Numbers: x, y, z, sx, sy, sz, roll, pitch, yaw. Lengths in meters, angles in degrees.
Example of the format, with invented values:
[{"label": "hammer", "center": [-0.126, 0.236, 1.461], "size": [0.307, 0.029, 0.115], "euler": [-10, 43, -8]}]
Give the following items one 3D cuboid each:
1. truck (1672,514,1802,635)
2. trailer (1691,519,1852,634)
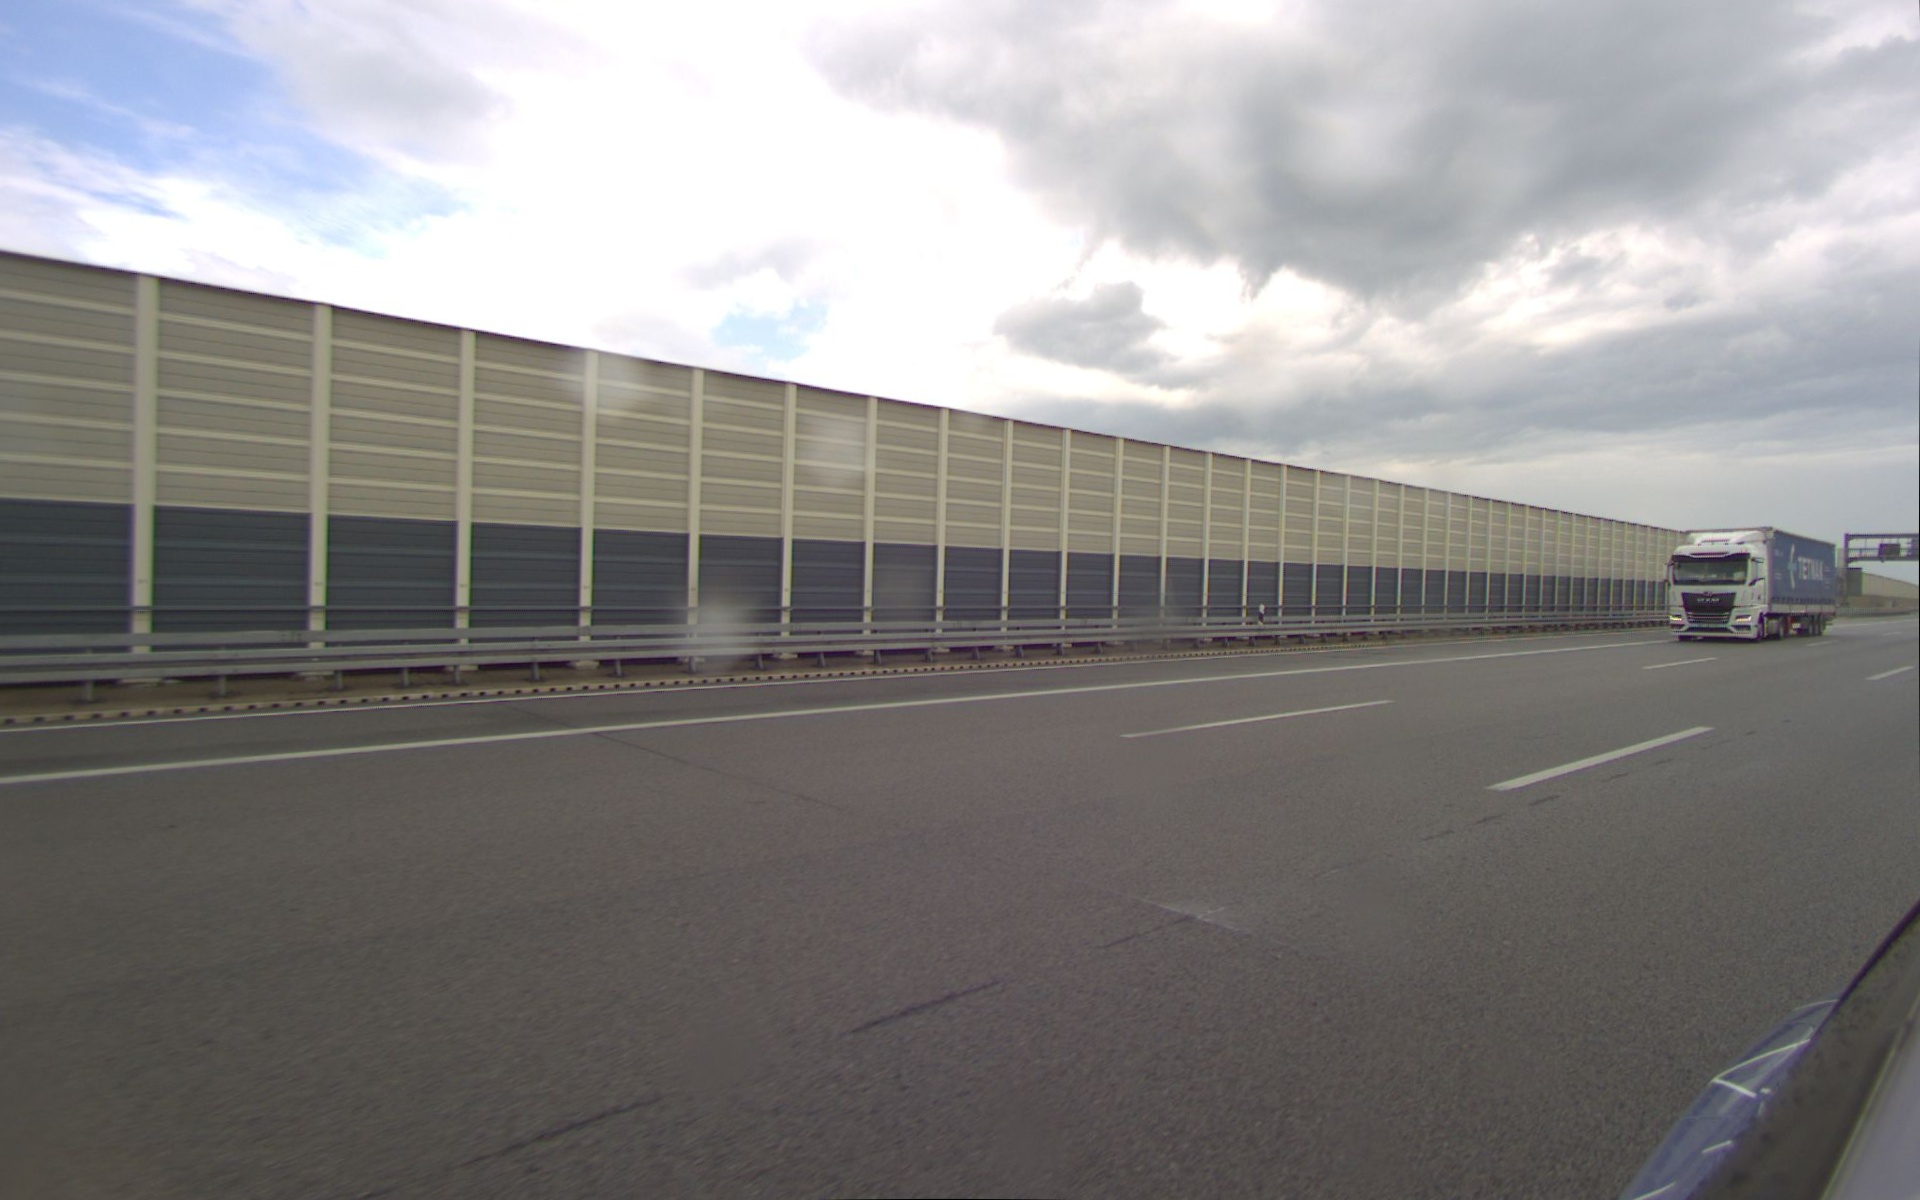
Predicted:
[{"label": "truck", "center": [28.452, -0.865, 36.977], "size": [5.626, 4.086, 2.749], "euler": [1, 0, -41]}, {"label": "trailer", "center": [33.636, -0.824, 41.587], "size": [14.201, 4.083, 2.766], "euler": [0, 0, -41]}]
